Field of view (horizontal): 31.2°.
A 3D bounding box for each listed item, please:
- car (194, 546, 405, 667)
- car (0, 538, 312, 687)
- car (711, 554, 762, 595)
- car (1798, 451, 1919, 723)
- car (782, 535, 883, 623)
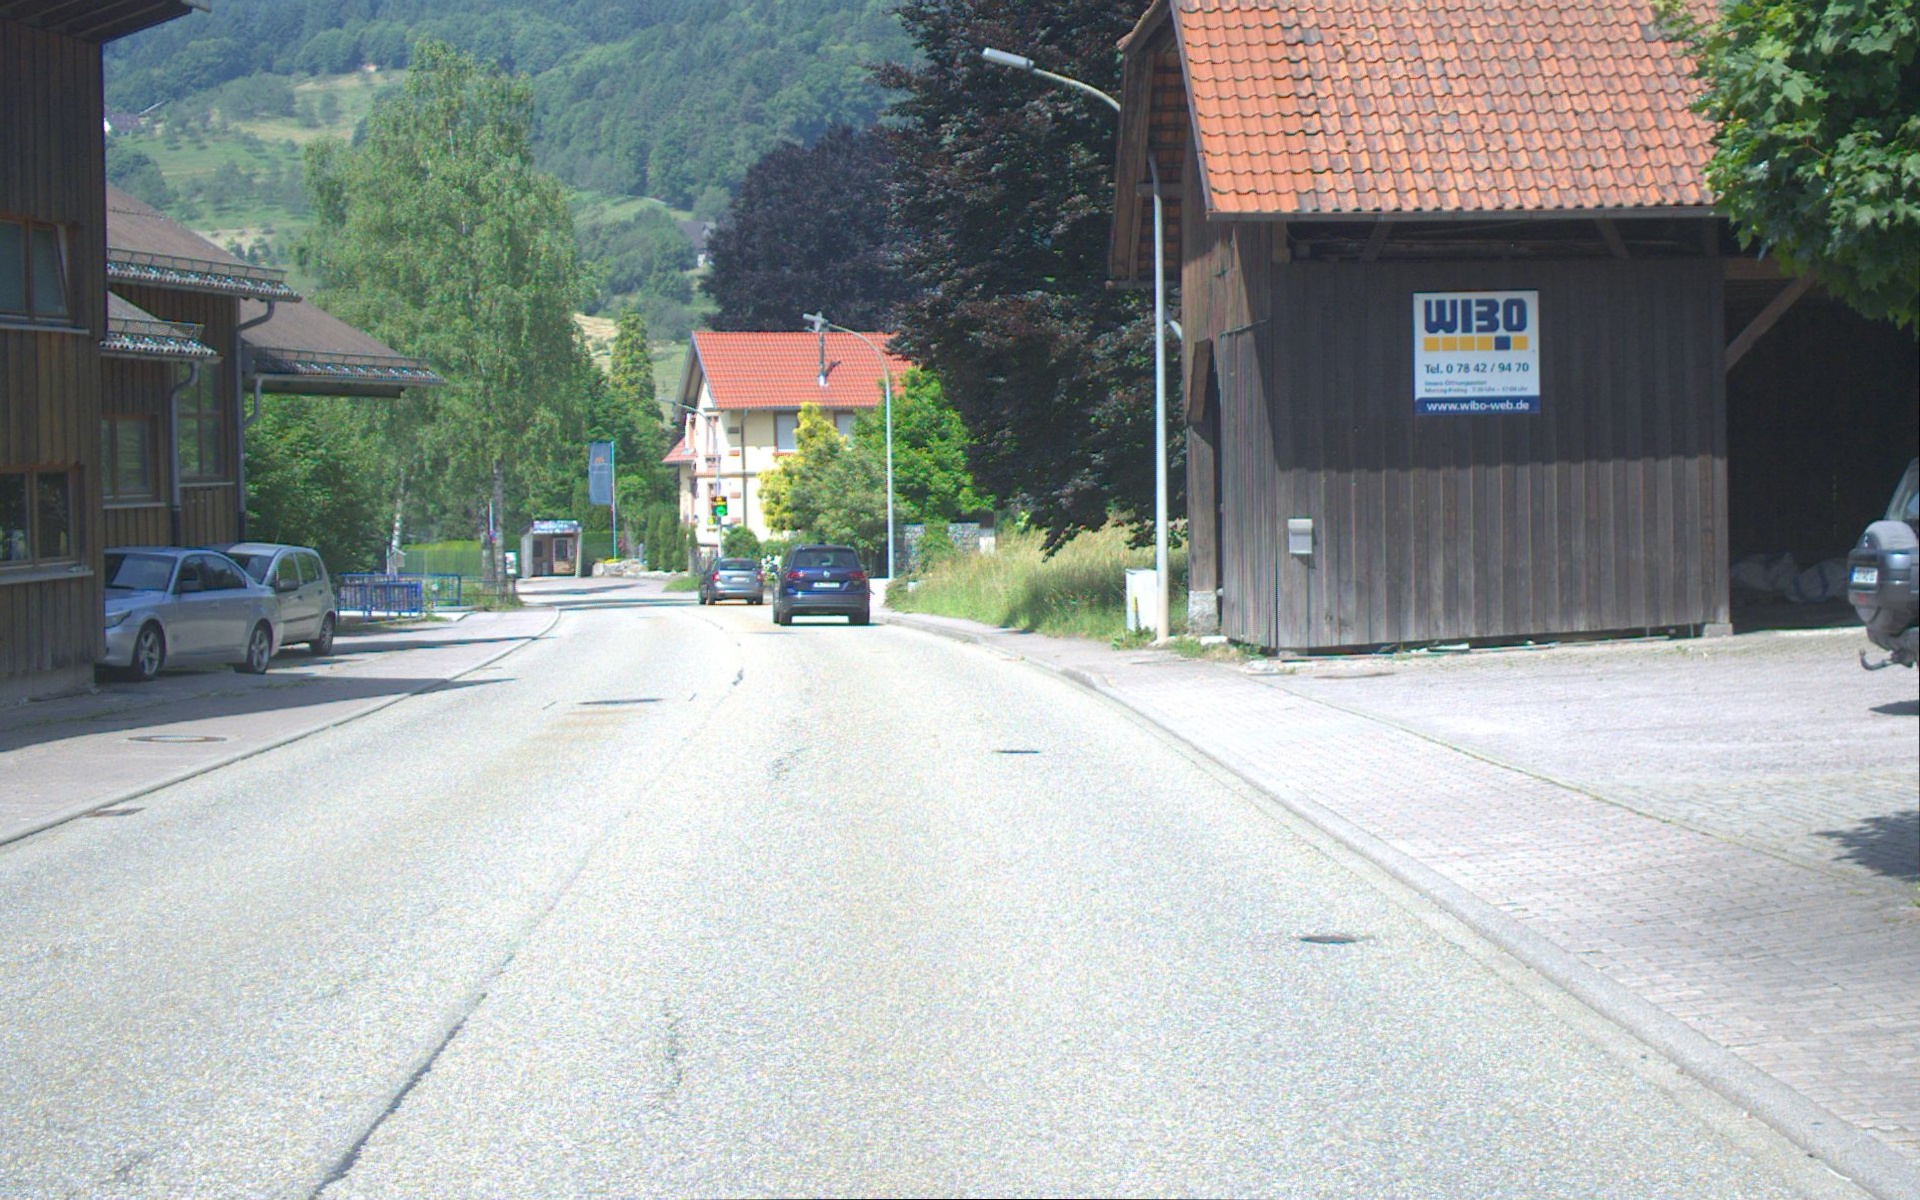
[{"bbox_3d":[-9.404,0.058,49.227,1.581,1.564,4.021,2,2,10],"label":"car"},{"bbox_3d":[-8.965,0.089,38.166,1.730,1.449,4.802,0,2,12],"label":"car"},{"bbox_3d":[-7.034,-0.804,108.059,1.476,1.205,2.384,-2,1,-6],"label":"car"},{"bbox_3d":[8.269,-0.178,24.228,4.126,1.826,1.955,-2,1,-5],"label":"car"},{"bbox_3d":[-2.623,-0.445,69.916,1.919,1.692,3.789,-2,1,-3],"label":"car"}]
